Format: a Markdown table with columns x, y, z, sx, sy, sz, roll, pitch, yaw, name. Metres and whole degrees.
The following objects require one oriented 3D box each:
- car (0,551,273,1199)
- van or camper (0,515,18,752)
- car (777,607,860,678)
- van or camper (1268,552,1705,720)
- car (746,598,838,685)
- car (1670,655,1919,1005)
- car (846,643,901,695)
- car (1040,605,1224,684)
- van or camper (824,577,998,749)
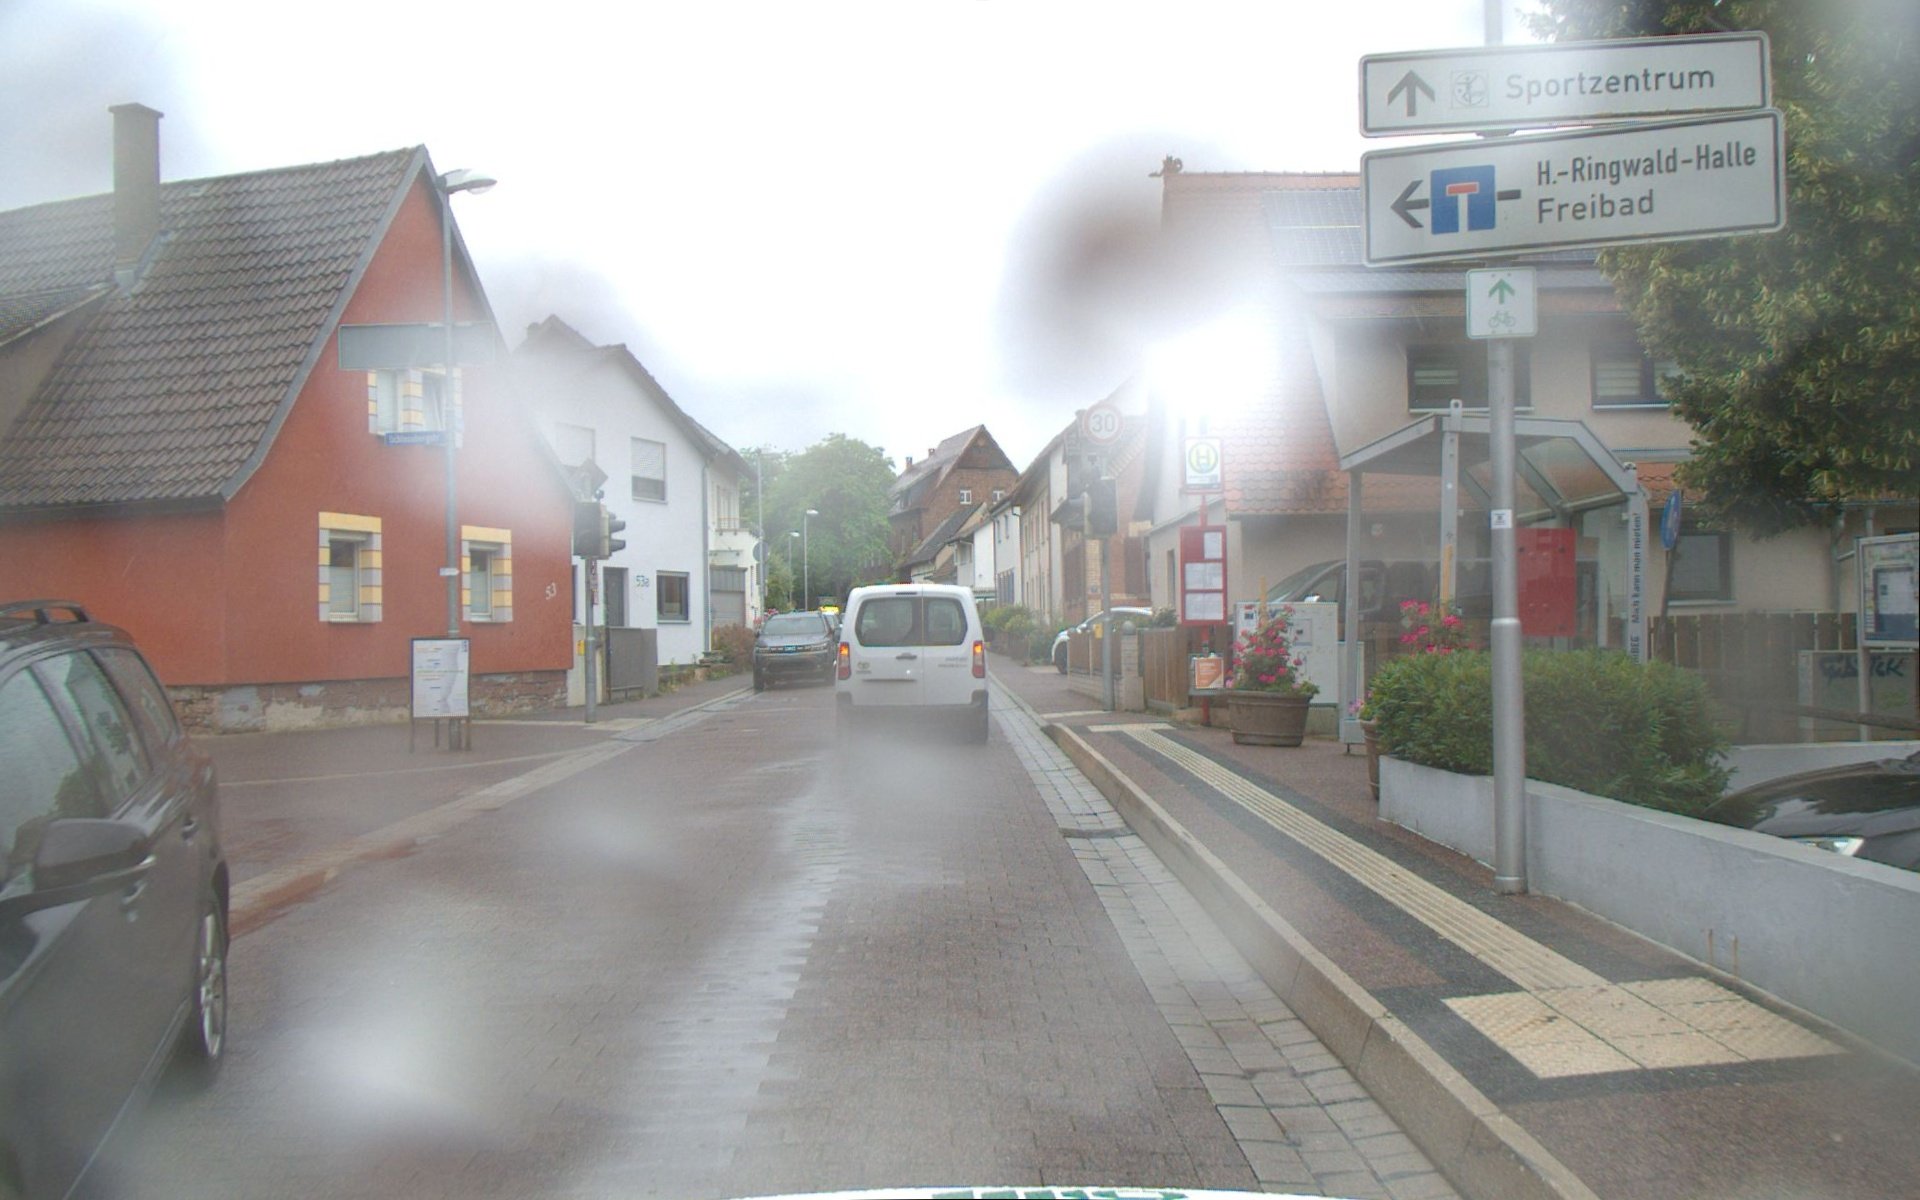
| x | y | z | sx | sy | sz | roll | pitch | yaw | name |
| --- | --- | --- | --- | --- | --- | --- | --- | --- | --- |
| -2.642 | 0.716 | 3.398 | 1.815 | 1.503 | 4.293 | -2 | 0 | -17 | car |
| -12.715 | 0.418 | 17.522 | 5.040 | 2.478 | 2.210 | -1 | 0 | 25 | van or camper |
| -3.689 | 1.119 | 43.715 | 1.713 | 1.665 | 4.418 | -3 | -2 | 0 | car |
| 6.606 | 0.454 | 21.055 | 4.969 | 1.957 | 1.874 | 1 | -1 | -4 | van or camper |
| -3.751 | 0.895 | 37.483 | 1.776 | 1.810 | 4.015 | -1 | 0 | -3 | car |
| 5.582 | 0.968 | 7.637 | 3.867 | 1.403 | 1.753 | -1 | 0 | 7 | car |
| -2.993 | 2.385 | 56.428 | 1.656 | 1.592 | 3.928 | -1 | -4 | -6 | car |
| 3.951 | 0.997 | 38.833 | 1.854 | 1.618 | 4.567 | 1 | 1 | -33 | car |
| -0.569 | 0.692 | 20.213 | 1.904 | 1.883 | 3.999 | 0 | 0 | -1 | van or camper |
